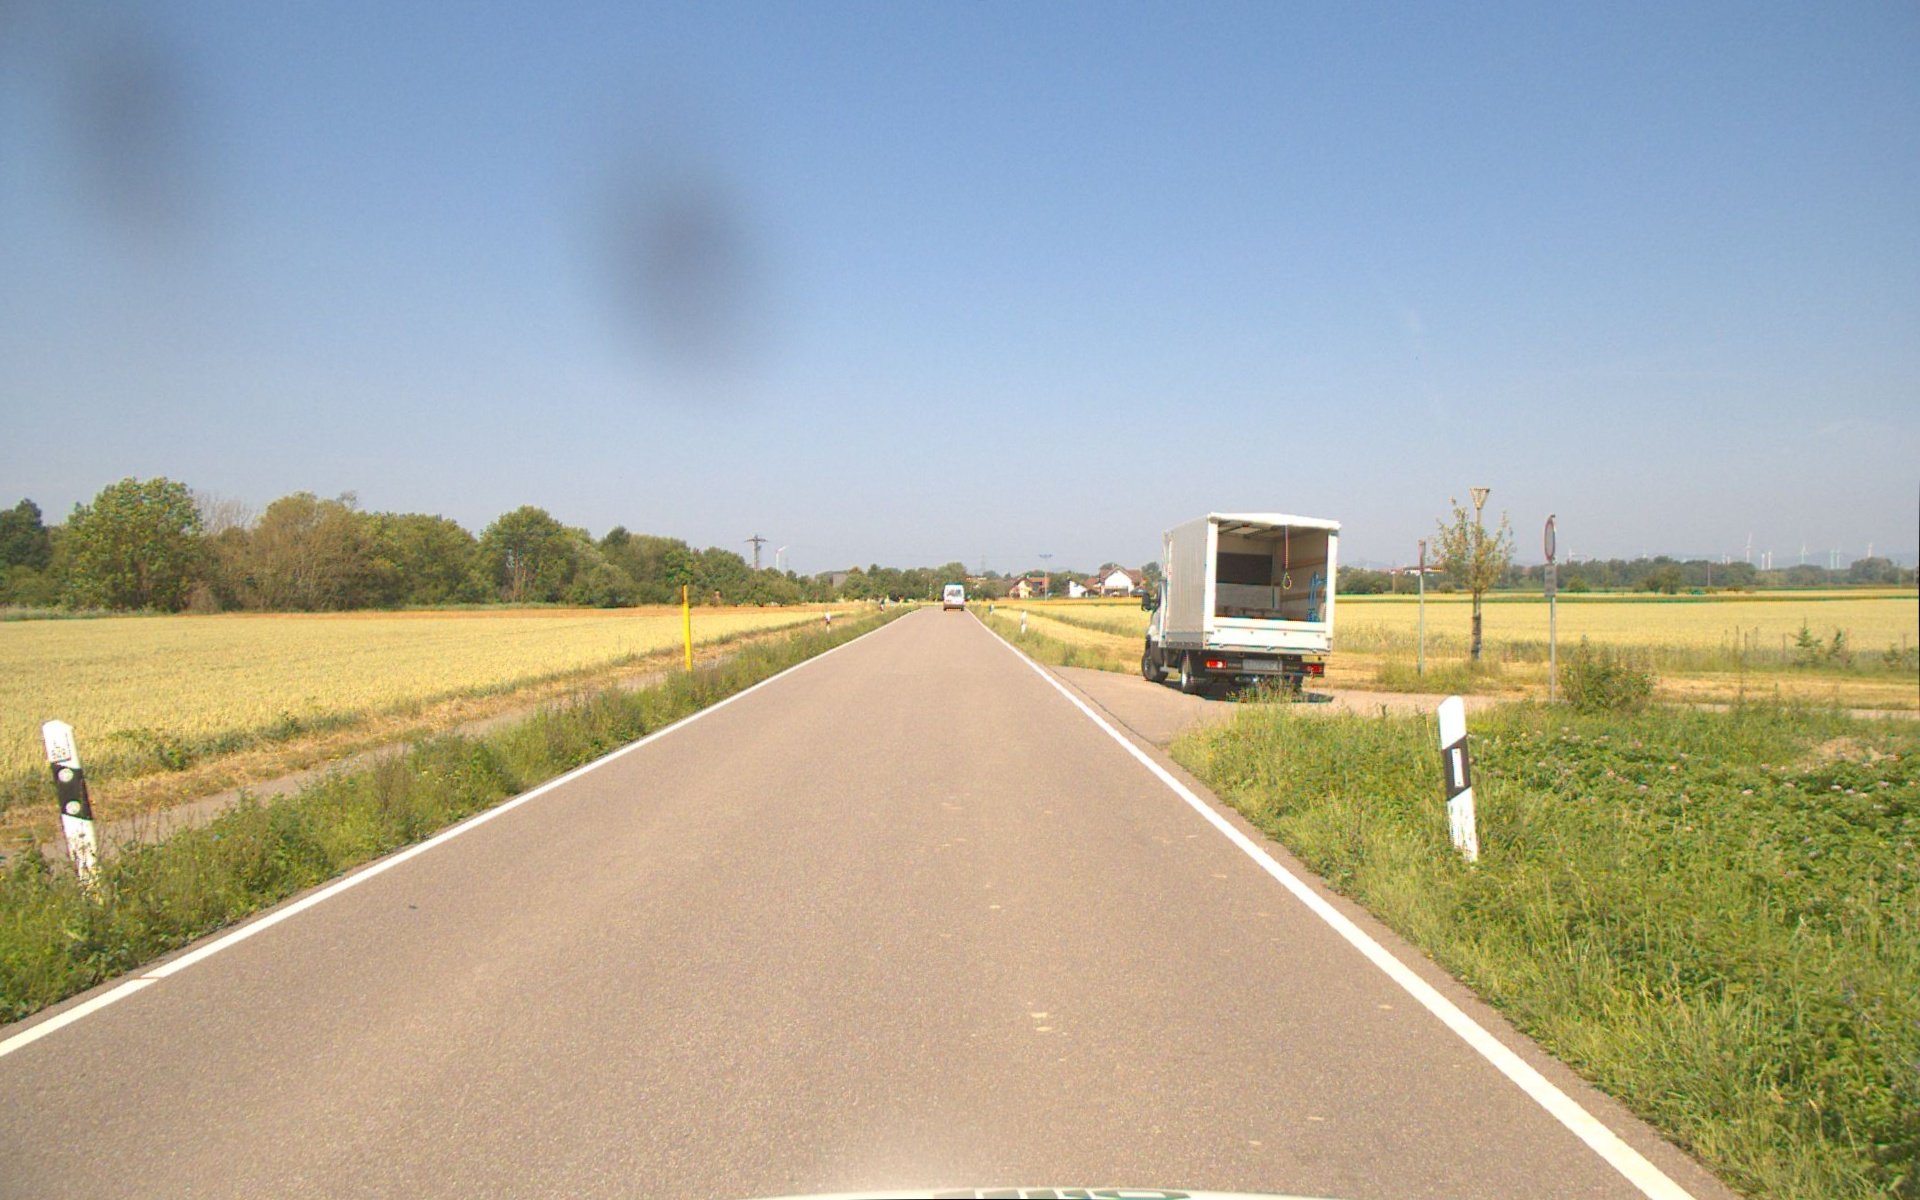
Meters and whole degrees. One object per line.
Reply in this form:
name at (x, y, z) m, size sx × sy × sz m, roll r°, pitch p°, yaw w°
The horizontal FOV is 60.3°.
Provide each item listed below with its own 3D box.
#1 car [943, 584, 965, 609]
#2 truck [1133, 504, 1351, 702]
car at (-0.615, -0.358, 162.017) m, size 2.064 × 2.344 × 5.495 m, roll 1°, pitch 0°, yaw -1°
truck at (4.783, 0.051, 29.339) m, size 2.289 × 2.994 × 7.005 m, roll 2°, pitch 0°, yaw -2°
